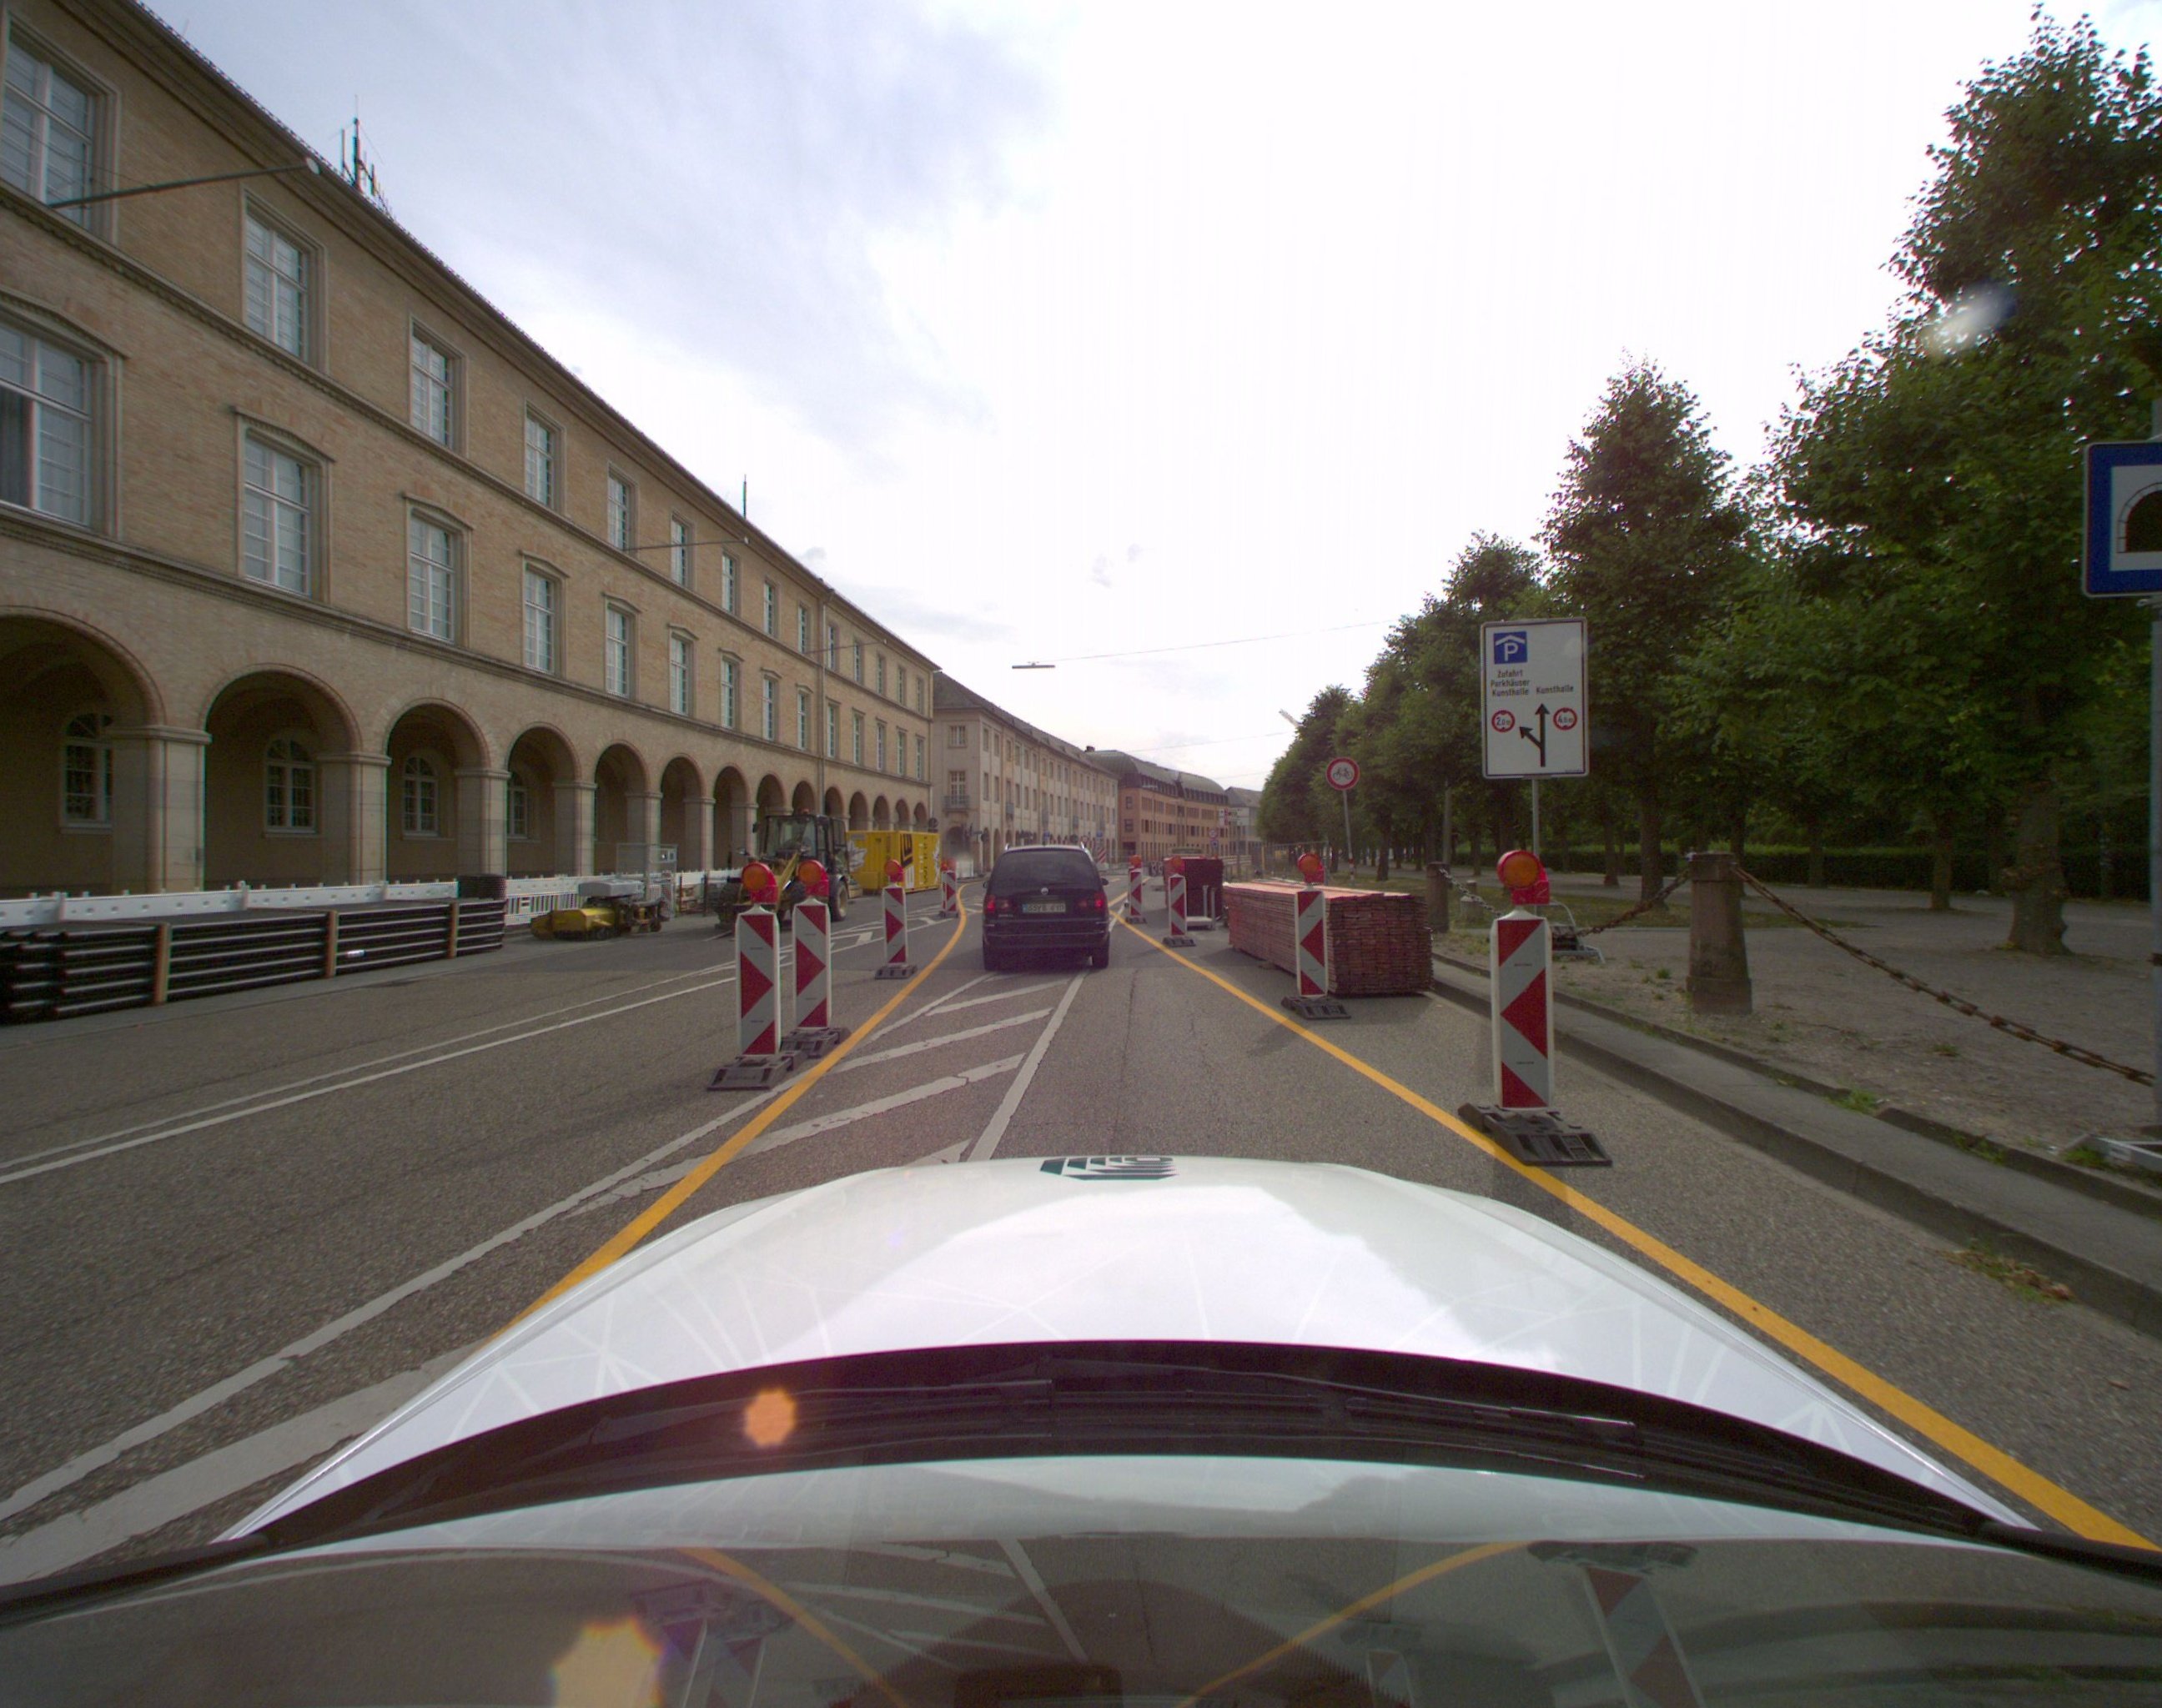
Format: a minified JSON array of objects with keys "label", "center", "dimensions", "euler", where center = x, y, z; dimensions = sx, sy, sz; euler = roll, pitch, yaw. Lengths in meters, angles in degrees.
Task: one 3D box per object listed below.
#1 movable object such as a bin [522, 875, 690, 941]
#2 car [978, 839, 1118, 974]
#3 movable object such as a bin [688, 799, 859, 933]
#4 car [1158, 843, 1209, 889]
[{"label":"movable object such as a bin","center":[-9.874,1.084,17.161],"dimensions":[1.800,1.124,2.751],"euler":[-1,2,3]},{"label":"car","center":[-0.511,0.675,12.591],"dimensions":[1.789,1.708,4.127],"euler":[-1,0,-2]},{"label":"movable object such as a bin","center":[-6.928,0.258,18.991],"dimensions":[2.108,2.718,4.620],"euler":[-1,0,1]},{"label":"car","center":[4.947,0.533,39.839],"dimensions":[1.986,2.013,4.347],"euler":[-1,2,1]}]
